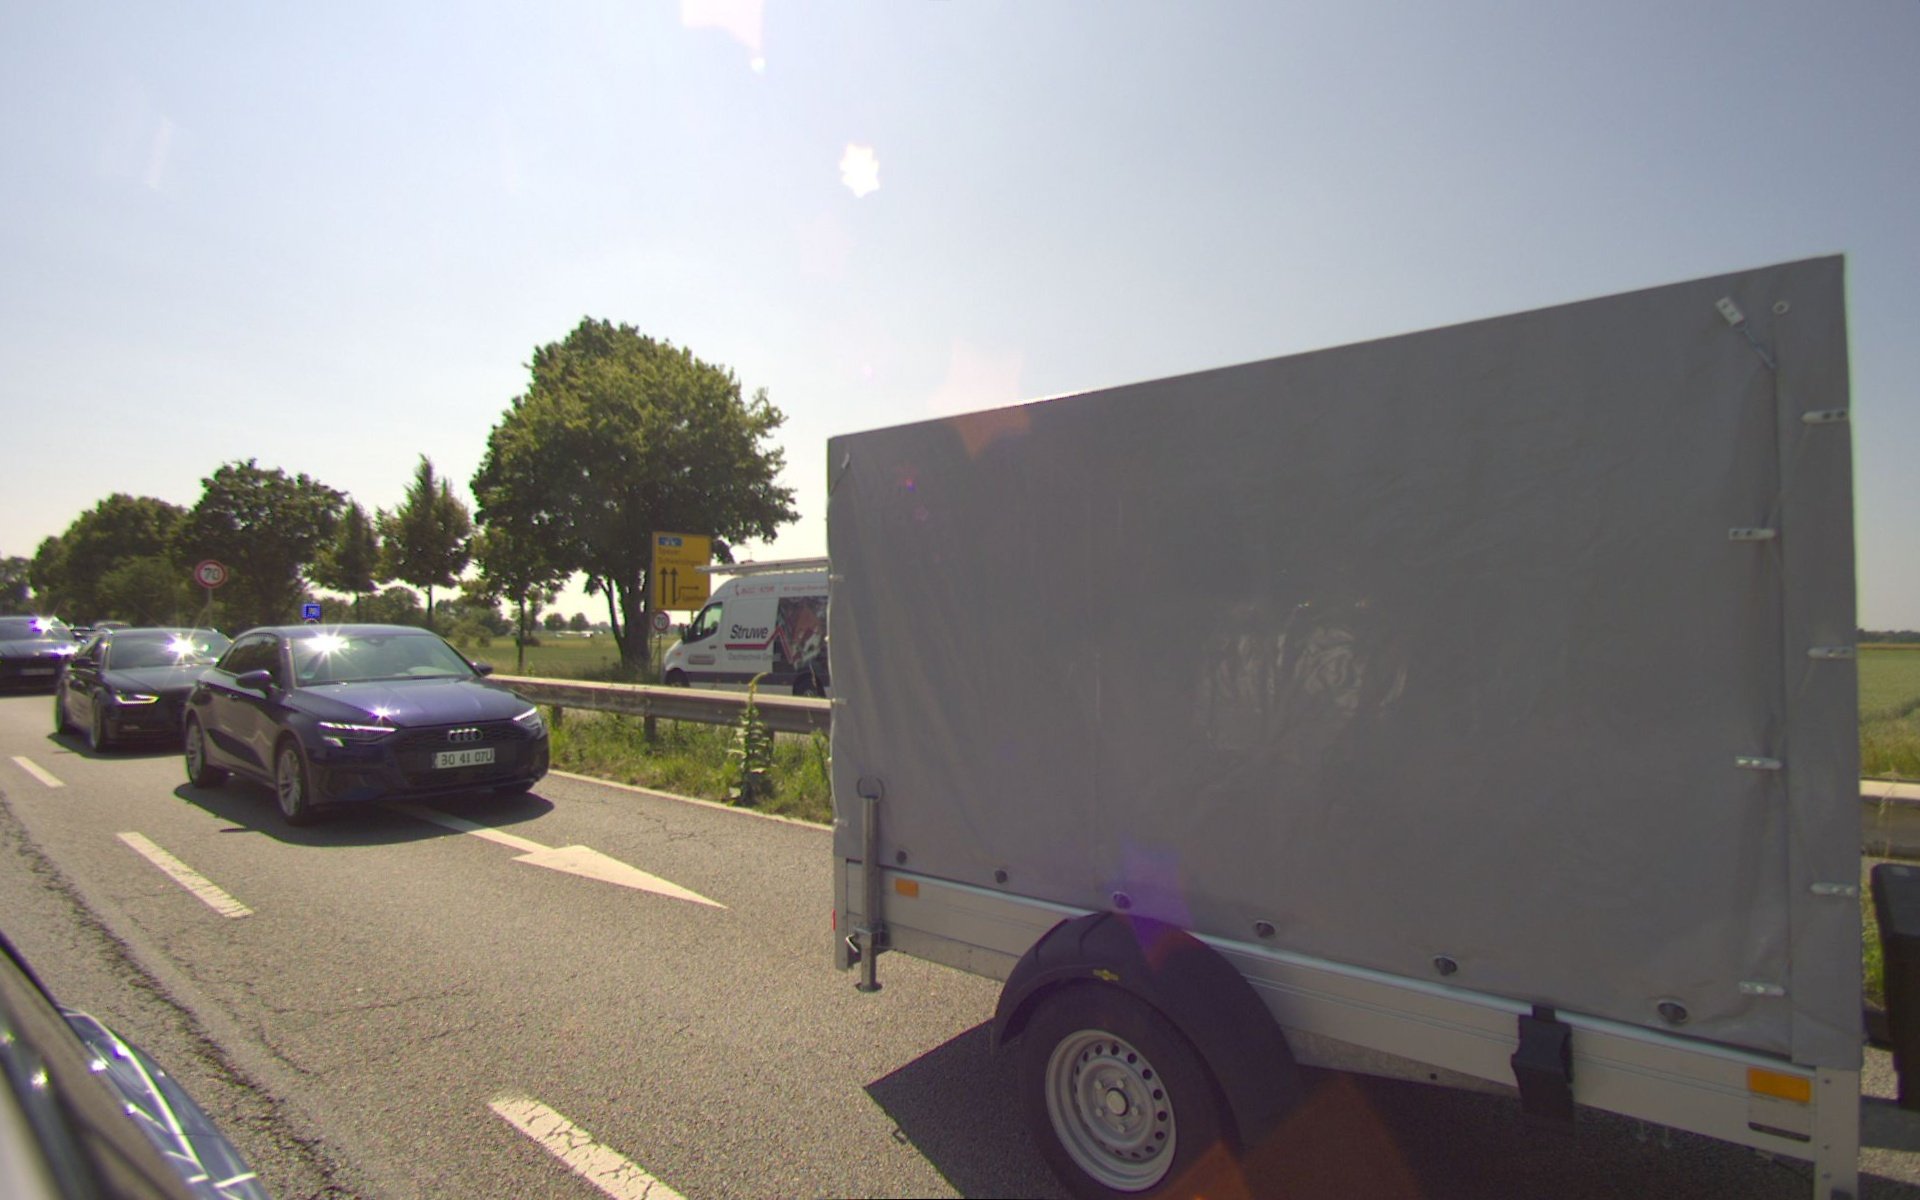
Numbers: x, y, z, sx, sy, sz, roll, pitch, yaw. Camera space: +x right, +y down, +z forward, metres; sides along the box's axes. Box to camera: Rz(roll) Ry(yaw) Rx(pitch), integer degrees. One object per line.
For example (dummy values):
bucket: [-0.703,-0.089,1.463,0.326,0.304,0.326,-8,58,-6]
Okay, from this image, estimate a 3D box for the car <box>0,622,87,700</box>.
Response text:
car: [-20.401,1.265,21.871,4.099,1.527,1.835,-2,-1,42]

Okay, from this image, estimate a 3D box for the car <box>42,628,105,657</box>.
car: [-46.792,2.242,53.396,4.502,1.465,1.859,-1,-2,41]

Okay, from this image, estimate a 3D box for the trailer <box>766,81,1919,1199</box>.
trailer: [1.412,0.323,2.570,4.172,2.190,1.485,-2,-2,41]

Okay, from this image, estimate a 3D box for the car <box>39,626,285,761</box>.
car: [-10.256,1.054,12.879,4.453,1.391,1.722,-2,-1,42]

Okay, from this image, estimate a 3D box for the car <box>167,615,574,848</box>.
car: [-5.057,0.892,8.453,4.027,1.476,1.699,-2,-1,40]

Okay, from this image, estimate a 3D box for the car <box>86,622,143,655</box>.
car: [-54.172,2.466,64.823,4.827,1.966,1.973,-1,-4,41]

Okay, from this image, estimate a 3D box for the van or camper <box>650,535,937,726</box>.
van or camper: [-3.292,0.593,19.238,5.690,3.123,2.240,-2,-3,40]
